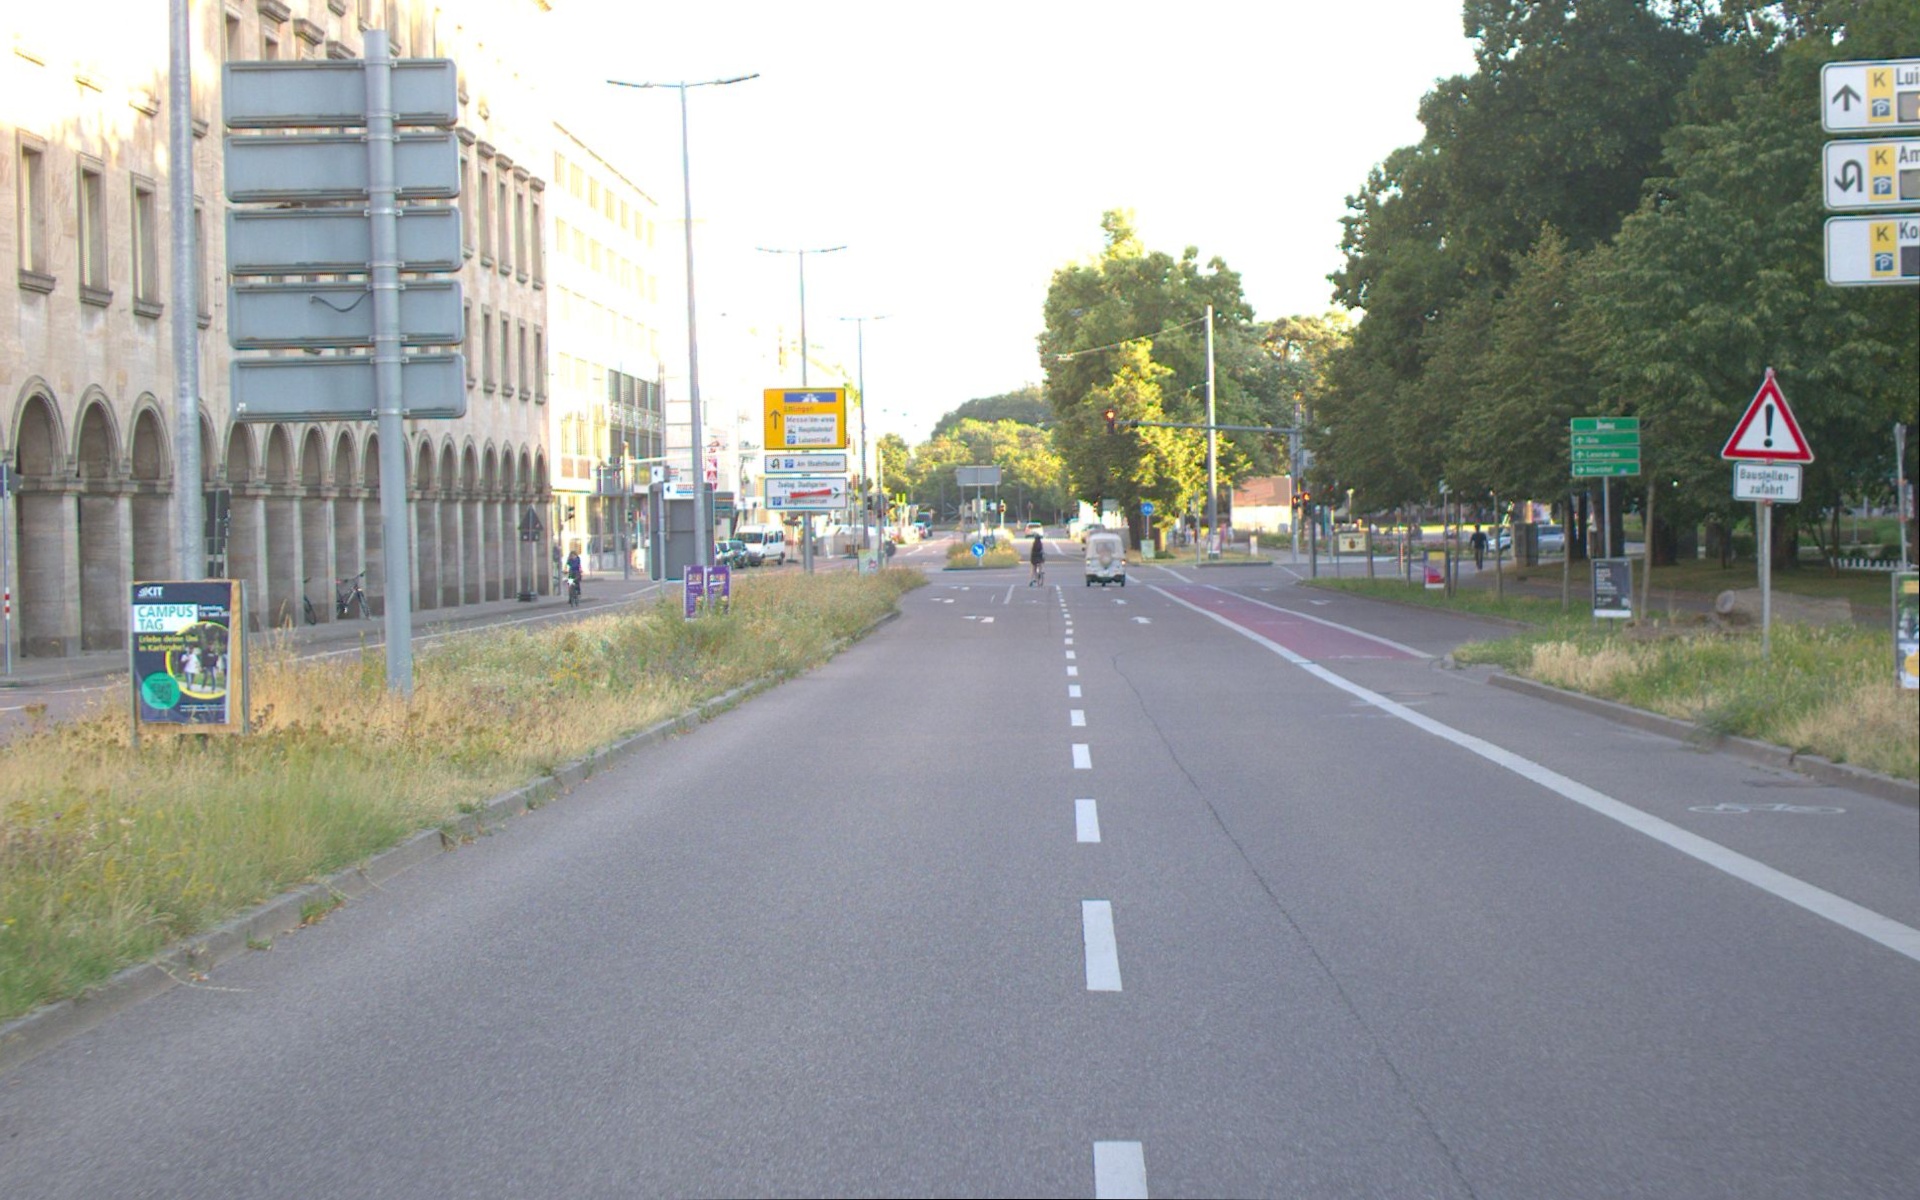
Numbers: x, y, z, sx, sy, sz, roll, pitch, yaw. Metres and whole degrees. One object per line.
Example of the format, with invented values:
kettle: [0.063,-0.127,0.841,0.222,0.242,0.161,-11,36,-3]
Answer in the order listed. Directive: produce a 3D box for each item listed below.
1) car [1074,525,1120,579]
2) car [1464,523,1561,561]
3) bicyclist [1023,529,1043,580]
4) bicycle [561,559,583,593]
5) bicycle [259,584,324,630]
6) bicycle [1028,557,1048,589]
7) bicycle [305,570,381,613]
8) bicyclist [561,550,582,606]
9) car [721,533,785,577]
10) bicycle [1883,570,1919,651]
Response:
car: [4.602,-1.611,115.100,1.459,1.774,2.564,-1,1,4]
car: [24.344,-2.575,151.582,3.987,1.568,2.000,-1,1,4]
bicyclist: [2.437,-1.515,115.421,0.628,1.687,0.748,-1,1,1]
bicycle: [-11.711,-0.728,103.679,0.541,1.002,2.005,-1,1,-4]
bicycle: [-15.329,0.149,78.832,0.477,1.002,2.003,-1,1,20]
bicycle: [2.623,-0.918,115.665,0.637,1.065,2.069,0,1,1]
bicycle: [-15.038,-0.210,83.858,0.478,1.002,2.001,0,1,37]
bicyclist: [-11.719,-0.667,103.751,0.536,1.687,0.749,-1,1,-4]
car: [-12.295,-2.642,204.909,2.178,2.377,5.985,-2,-1,13]
bicycle: [12.854,0.128,46.433,0.495,1.002,1.896,-4,1,21]
